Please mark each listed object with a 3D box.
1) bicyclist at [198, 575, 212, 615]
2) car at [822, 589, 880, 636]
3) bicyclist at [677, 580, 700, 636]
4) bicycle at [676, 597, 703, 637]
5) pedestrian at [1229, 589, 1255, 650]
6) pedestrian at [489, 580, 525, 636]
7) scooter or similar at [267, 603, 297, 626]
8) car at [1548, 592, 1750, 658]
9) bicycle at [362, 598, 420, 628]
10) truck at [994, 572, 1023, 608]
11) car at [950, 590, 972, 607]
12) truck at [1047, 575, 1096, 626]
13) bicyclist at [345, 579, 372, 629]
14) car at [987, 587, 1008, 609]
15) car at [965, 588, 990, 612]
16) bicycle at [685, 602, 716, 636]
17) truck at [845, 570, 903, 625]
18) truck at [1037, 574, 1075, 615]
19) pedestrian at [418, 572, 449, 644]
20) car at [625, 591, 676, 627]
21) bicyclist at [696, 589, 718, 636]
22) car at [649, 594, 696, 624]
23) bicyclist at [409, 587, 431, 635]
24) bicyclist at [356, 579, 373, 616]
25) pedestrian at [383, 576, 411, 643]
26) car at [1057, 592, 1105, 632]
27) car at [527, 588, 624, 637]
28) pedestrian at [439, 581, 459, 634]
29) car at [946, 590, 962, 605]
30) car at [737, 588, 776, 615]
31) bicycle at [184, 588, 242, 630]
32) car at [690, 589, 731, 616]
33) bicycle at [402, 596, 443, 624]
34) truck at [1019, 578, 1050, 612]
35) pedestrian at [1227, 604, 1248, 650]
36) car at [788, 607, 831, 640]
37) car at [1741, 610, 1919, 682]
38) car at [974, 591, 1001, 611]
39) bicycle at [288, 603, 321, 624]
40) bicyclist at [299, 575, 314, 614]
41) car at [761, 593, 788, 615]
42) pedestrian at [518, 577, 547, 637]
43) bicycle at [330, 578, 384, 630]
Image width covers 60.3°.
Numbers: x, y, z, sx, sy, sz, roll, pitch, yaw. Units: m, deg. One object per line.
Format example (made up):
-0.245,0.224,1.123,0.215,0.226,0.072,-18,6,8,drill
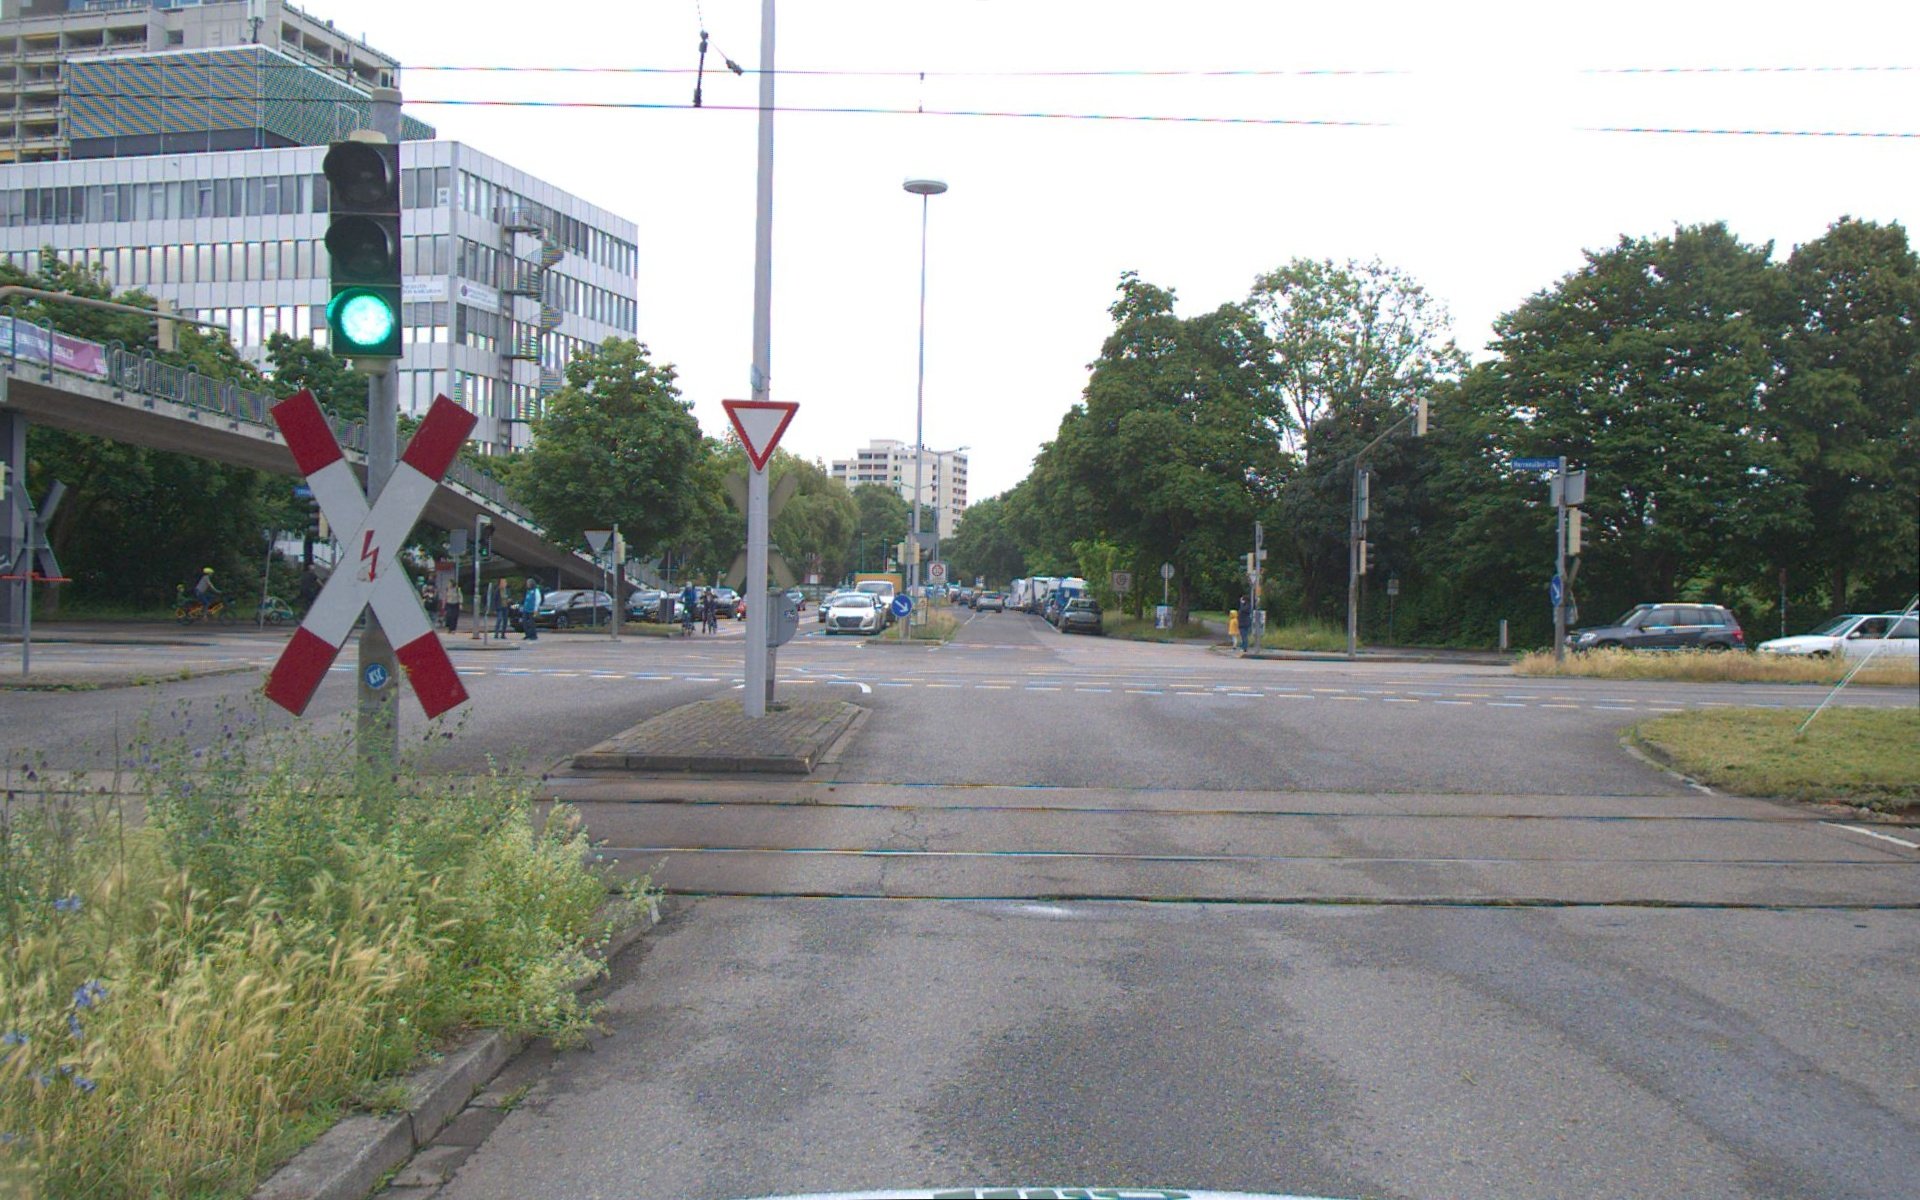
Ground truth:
-24.381,-0.159,53.421,0.400,1.275,0.275,1,0,-25,bicyclist
-3.757,0.415,57.675,1.753,1.545,4.325,1,0,-1,car
-8.909,0.251,54.315,0.631,1.799,0.646,1,0,-1,bicyclist
-8.925,0.549,54.597,0.532,1.289,2.110,1,0,-1,bicycle
8.407,0.584,49.303,0.643,1.780,0.459,1,0,-1,pedestrian
-12.503,0.217,45.703,0.901,1.537,0.403,1,0,-12,pedestrian
-22.687,0.477,55.351,0.396,0.727,0.998,1,0,18,scooter or similar
17.479,0.617,42.087,4.373,1.530,1.846,1,0,0,car
-19.035,0.424,55.350,0.746,0.965,1.953,1,0,21,bicycle
4.187,-0.850,143.000,1.954,3.061,5.767,1,0,-4,truck
0.124,-0.156,155.638,1.979,1.531,3.999,1,0,-1,car
6.083,0.036,90.812,2.130,2.703,6.245,0,0,-1,truck
-20.032,0.124,55.082,0.515,1.653,0.750,1,0,11,bicyclist
3.609,-0.203,159.032,1.619,1.952,3.915,1,1,-5,car
1.485,-0.051,142.729,1.979,1.992,3.999,1,0,-1,car
-8.980,0.640,57.299,0.712,1.120,2.264,1,0,-1,bicycle
-3.646,-0.127,71.434,2.111,2.237,5.840,1,0,0,truck
6.919,-0.428,120.174,1.954,2.888,5.726,1,0,-4,truck
-13.715,0.201,43.100,0.625,1.835,0.800,1,0,-10,pedestrian
-14.452,0.395,77.419,1.637,1.579,3.892,1,0,0,car
-8.881,0.426,58.044,0.665,1.622,0.695,1,-1,-1,bicyclist
-14.369,0.440,82.915,1.637,1.411,3.895,1,0,0,car
-19.090,0.384,58.464,0.553,1.673,0.531,1,-1,0,bicyclist
-19.846,-0.090,55.112,0.396,1.202,0.377,1,1,1,bicyclist
-14.484,0.239,42.562,0.608,1.721,0.404,1,0,-15,pedestrian
5.397,0.494,74.002,1.747,1.691,3.999,1,0,-1,car
-13.268,0.413,57.279,1.636,1.579,4.003,1,0,13,car
-15.697,0.220,50.798,0.570,1.607,0.777,1,0,-19,pedestrian
-0.653,-0.299,180.650,1.523,1.531,3.998,1,0,-3,car
-10.899,0.088,88.681,1.480,1.414,3.534,1,0,3,car
-24.161,0.306,53.530,1.683,1.327,0.386,1,0,-26,bicycle
-14.157,0.129,93.962,1.727,1.419,3.999,1,0,-1,car
-19.014,0.354,58.552,0.618,0.941,2.523,1,1,-1,bicycle
5.961,-0.382,132.232,1.954,2.618,5.375,1,0,-3,truck
8.385,0.806,50.025,0.516,1.365,0.525,1,0,-1,pedestrian
-7.394,1.154,81.645,1.734,1.503,4.389,1,0,0,car
18.721,0.958,34.512,4.052,1.381,1.647,1,0,0,car
2.158,0.077,129.568,1.979,1.531,3.999,1,0,-1,car
-22.357,0.444,56.440,0.283,0.704,1.298,1,1,16,bicycle
-22.330,-0.182,56.479,0.271,1.326,0.384,1,0,16,bicyclist
-14.150,0.299,126.330,1.637,1.579,4.000,1,0,0,car
-11.773,0.199,45.551,0.673,1.633,0.487,1,0,-5,pedestrian
-20.028,0.124,54.994,0.515,1.653,2.368,1,0,11,bicycle
